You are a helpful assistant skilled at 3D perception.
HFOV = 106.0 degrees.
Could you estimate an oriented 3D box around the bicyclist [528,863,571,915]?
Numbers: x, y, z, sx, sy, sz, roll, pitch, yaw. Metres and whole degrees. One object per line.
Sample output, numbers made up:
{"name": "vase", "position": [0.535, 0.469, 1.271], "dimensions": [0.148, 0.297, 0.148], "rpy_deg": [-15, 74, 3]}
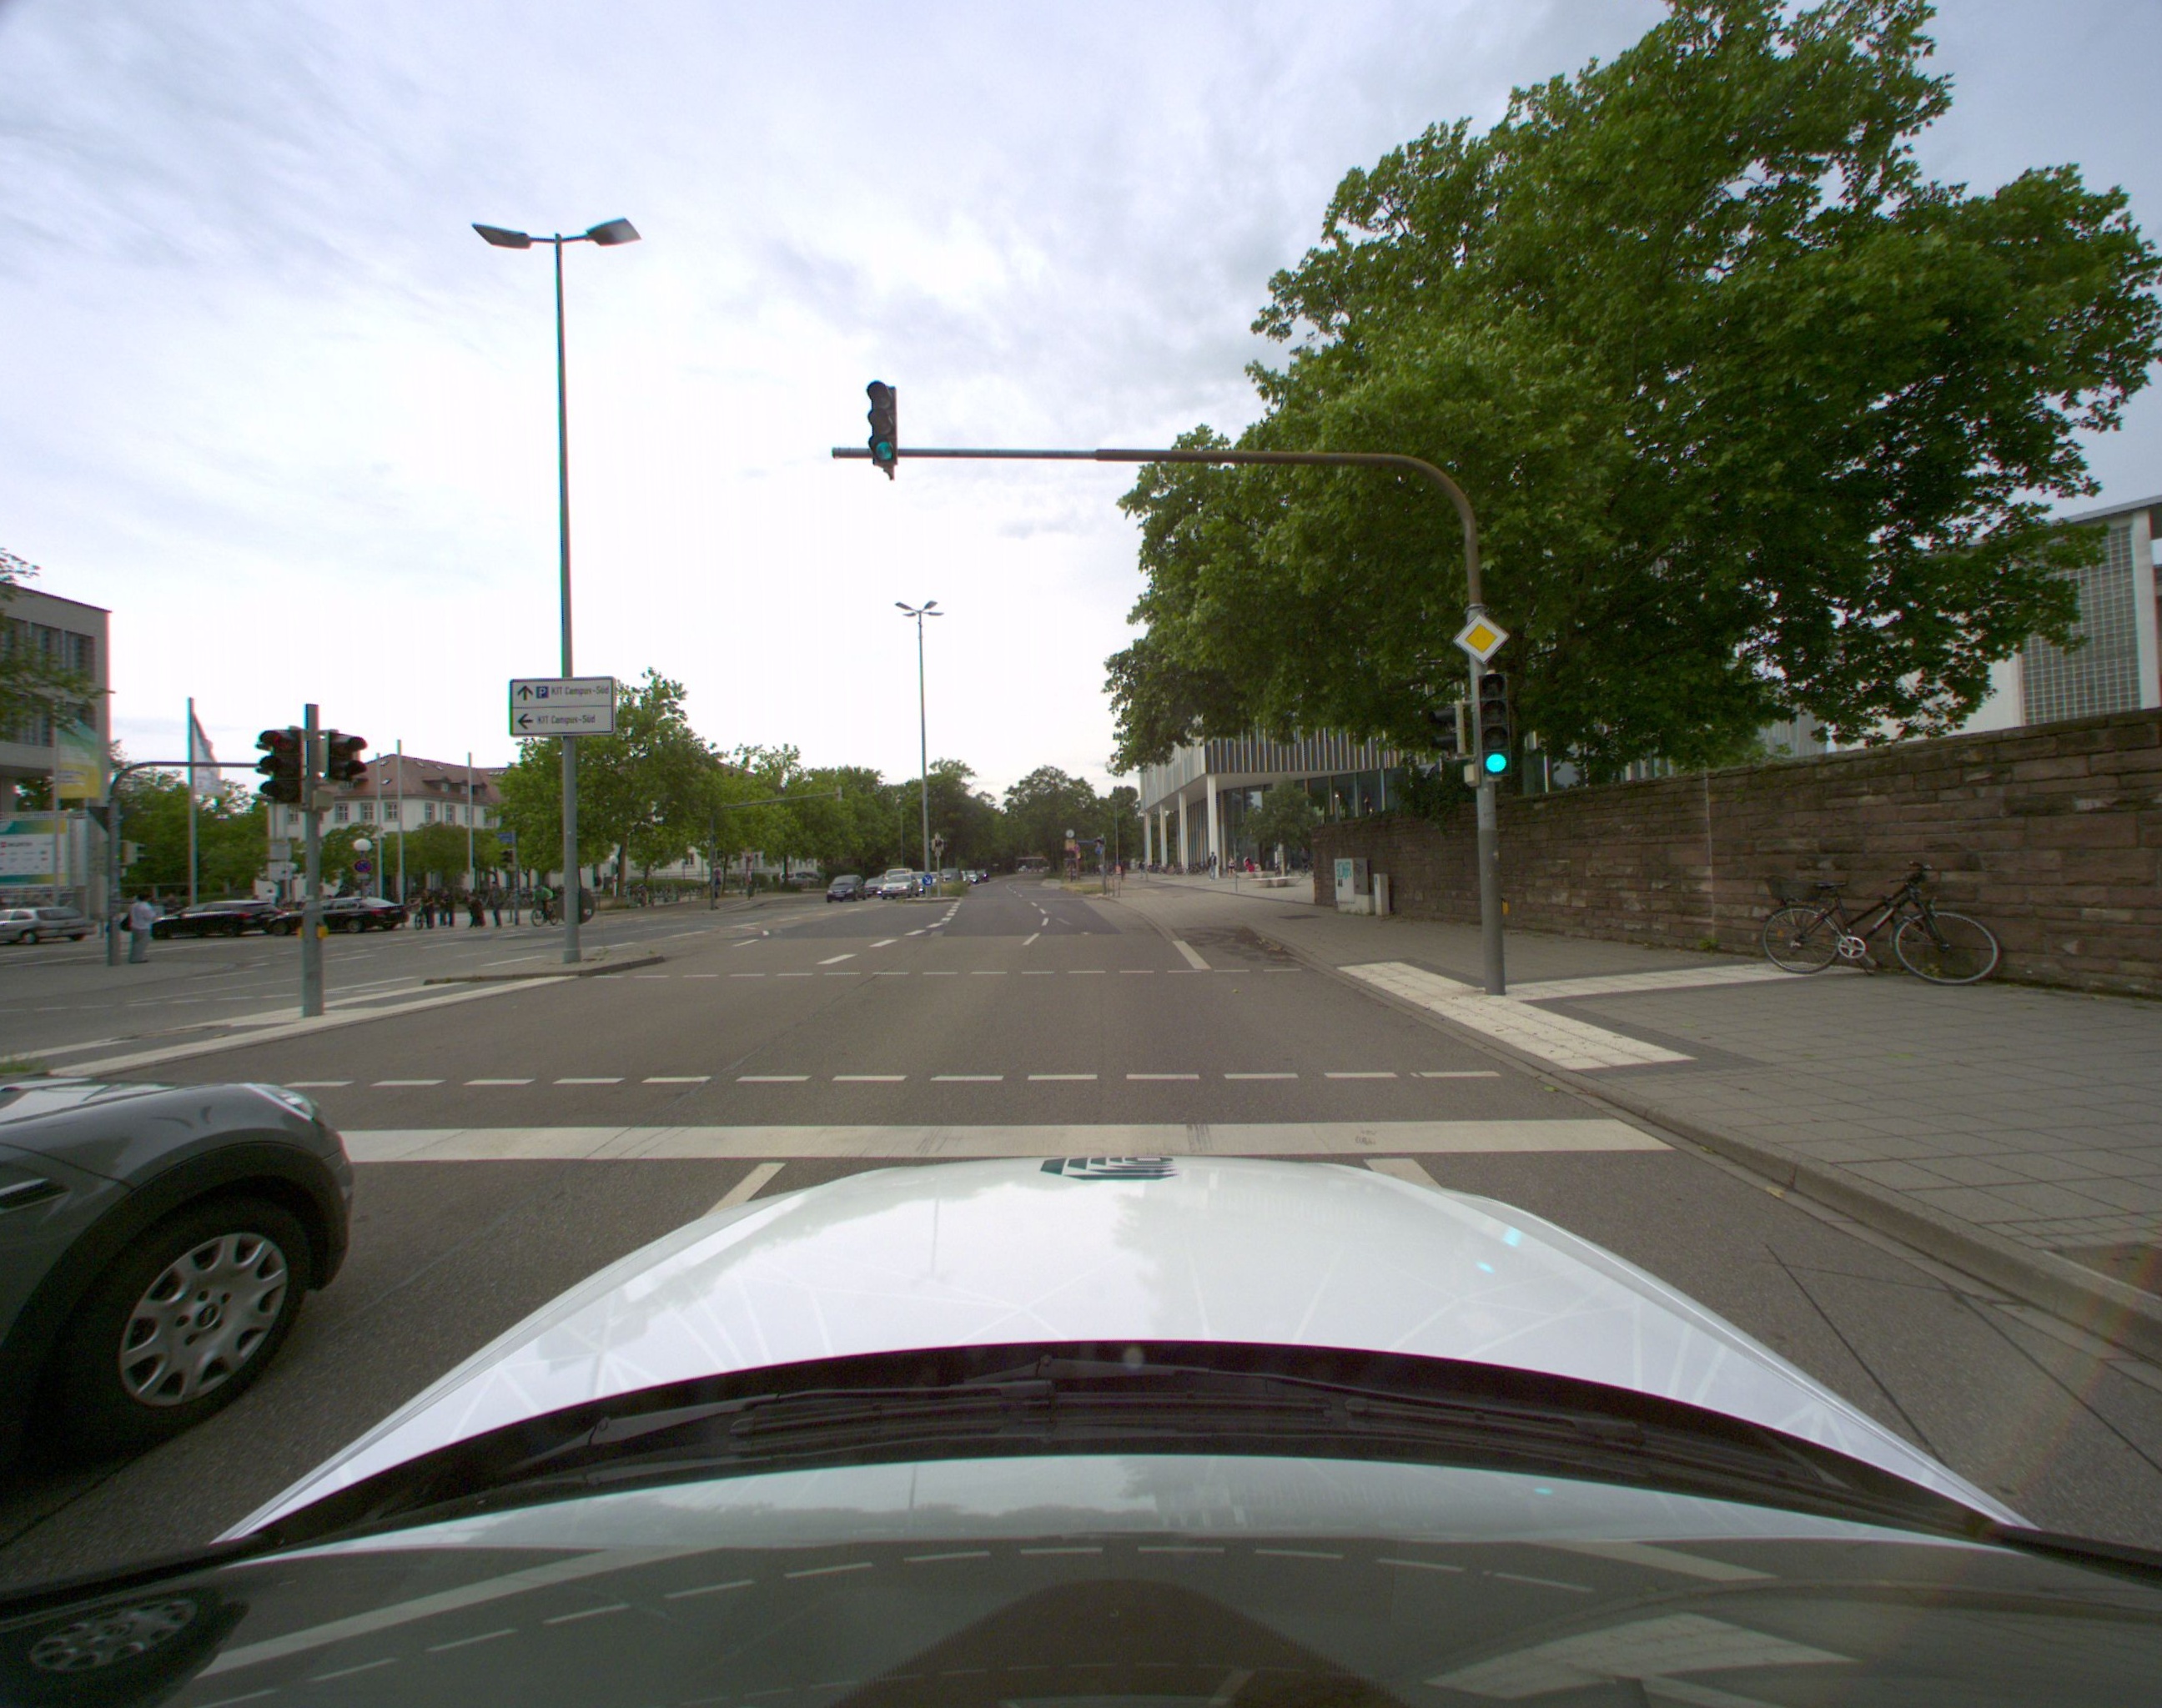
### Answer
{"name": "bicyclist", "position": [-21.163, 1.389, 32.480], "dimensions": [1.185, 2.014, 1.272], "rpy_deg": [0, -1, -22]}

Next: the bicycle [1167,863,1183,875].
{"name": "bicycle", "position": [9.793, 1.526, 84.917], "dimensions": [1.636, 1.091, 0.573], "rpy_deg": [-5, -1, 6]}

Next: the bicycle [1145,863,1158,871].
{"name": "bicycle", "position": [9.131, 1.668, 105.163], "dimensions": [1.604, 0.875, 0.555], "rpy_deg": [-2, -1, -6]}

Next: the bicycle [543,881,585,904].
{"name": "bicycle", "position": [-38.366, 2.839, 60.473], "dimensions": [2.447, 1.559, 0.918], "rpy_deg": [-2, -1, -13]}

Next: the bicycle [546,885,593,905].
{"name": "bicycle", "position": [-37.408, 2.982, 59.537], "dimensions": [2.815, 1.329, 0.720], "rpy_deg": [-2, -1, -7]}

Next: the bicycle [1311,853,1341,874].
{"name": "bicycle", "position": [16.652, 0.655, 55.334], "dimensions": [2.011, 1.306, 0.640], "rpy_deg": [-4, 1, -24]}

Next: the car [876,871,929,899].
{"name": "car", "position": [-10.586, 1.811, 48.605], "dimensions": [1.986, 1.529, 4.275], "rpy_deg": [-2, -1, 2]}

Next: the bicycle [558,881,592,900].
{"name": "bicycle", "position": [-44.255, 3.212, 71.268], "dimensions": [2.639, 1.559, 0.926], "rpy_deg": [-3, -1, 15]}

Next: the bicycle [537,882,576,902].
{"name": "bicycle", "position": [-44.705, 3.248, 69.456], "dimensions": [3.056, 1.559, 0.926], "rpy_deg": [-3, -1, 15]}

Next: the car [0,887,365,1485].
{"name": "car", "position": [-3.291, 0.781, 0.898], "dimensions": [1.615, 1.318, 3.707], "rpy_deg": [-2, -1, 2]}

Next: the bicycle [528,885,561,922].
{"name": "bicycle", "position": [-21.390, 1.953, 32.515], "dimensions": [0.607, 1.333, 2.294], "rpy_deg": [0, -1, -21]}

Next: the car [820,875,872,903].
{"name": "car", "position": [-13.937, 2.041, 48.449], "dimensions": [1.845, 1.463, 3.699], "rpy_deg": [-2, -1, 2]}

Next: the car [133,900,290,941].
{"name": "car", "position": [-35.137, 2.659, 33.018], "dimensions": [3.982, 1.472, 1.996], "rpy_deg": [0, -1, -6]}

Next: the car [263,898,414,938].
{"name": "car", "position": [-30.358, 2.596, 33.426], "dimensions": [4.136, 1.472, 1.996], "rpy_deg": [0, -1, -6]}

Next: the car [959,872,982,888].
{"name": "car", "position": [-11.978, 2.810, 88.292], "dimensions": [1.989, 1.547, 4.176], "rpy_deg": [-4, -1, -2]}

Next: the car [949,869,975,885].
{"name": "car", "position": [-11.521, 2.199, 79.218], "dimensions": [1.899, 1.465, 4.906], "rpy_deg": [0, -1, -2]}

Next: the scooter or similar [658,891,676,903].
{"name": "scooter or similar", "position": [-25.507, 2.634, 50.204], "dimensions": [0.405, 0.694, 1.289], "rpy_deg": [0, -1, 1]}

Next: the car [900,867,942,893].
{"name": "car", "position": [-11.090, 1.772, 56.633], "dimensions": [1.950, 1.584, 4.256], "rpy_deg": [-3, 0, 1]}

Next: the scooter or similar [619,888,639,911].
{"name": "scooter or similar", "position": [-23.824, 2.378, 42.937], "dimensions": [0.359, 1.140, 1.318], "rpy_deg": [-2, -1, -2]}

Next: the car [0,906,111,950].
{"name": "car", "position": [-42.126, 2.938, 32.590], "dimensions": [3.979, 1.580, 1.997], "rpy_deg": [0, -1, -4]}

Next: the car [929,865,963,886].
{"name": "car", "position": [-11.793, 1.872, 71.452], "dimensions": [1.986, 1.687, 4.948], "rpy_deg": [-1, -1, 1]}

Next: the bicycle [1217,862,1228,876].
{"name": "bicycle", "position": [11.134, 1.174, 64.174], "dimensions": [0.636, 1.061, 1.841], "rpy_deg": [0, -1, 3]}

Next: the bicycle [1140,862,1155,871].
{"name": "bicycle", "position": [8.710, 1.624, 106.288], "dimensions": [1.791, 1.082, 0.625], "rpy_deg": [-4, -1, -4]}

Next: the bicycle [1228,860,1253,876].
{"name": "bicycle", "position": [12.160, 1.059, 62.075], "dimensions": [0.727, 1.115, 2.196], "rpy_deg": [-3, -1, 45]}

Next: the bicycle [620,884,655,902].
{"name": "bicycle", "position": [-31.171, 2.728, 57.270], "dimensions": [2.036, 1.153, 0.717], "rpy_deg": [-2, -1, -20]}

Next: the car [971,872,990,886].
{"name": "car", "position": [-12.499, 3.042, 101.285], "dimensions": [1.898, 1.593, 4.512], "rpy_deg": [-3, -1, -2]}

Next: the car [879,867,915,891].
{"name": "car", "position": [-14.459, 1.943, 64.207], "dimensions": [1.766, 1.848, 4.487], "rpy_deg": [0, -1, 0]}

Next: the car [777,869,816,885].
{"name": "car", "position": [-30.291, 2.457, 86.734], "dimensions": [3.579, 1.602, 1.649], "rpy_deg": [0, -1, -5]}

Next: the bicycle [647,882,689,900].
{"name": "bicycle", "position": [-31.654, 2.833, 62.439], "dimensions": [2.743, 1.174, 0.720], "rpy_deg": [-2, -1, -6]}

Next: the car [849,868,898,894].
{"name": "car", "position": [-14.098, 1.791, 55.588], "dimensions": [1.984, 1.620, 4.005], "rpy_deg": [-2, -1, 4]}

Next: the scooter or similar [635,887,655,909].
{"name": "scooter or similar", "position": [-23.849, 2.400, 44.557], "dimensions": [0.359, 1.140, 1.318], "rpy_deg": [-2, -1, -2]}

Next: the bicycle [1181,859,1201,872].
{"name": "bicycle", "position": [11.514, 1.206, 85.084], "dimensions": [1.962, 1.144, 0.652], "rpy_deg": [-5, -1, 39]}

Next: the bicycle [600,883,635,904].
{"name": "bicycle", "position": [-37.994, 3.232, 66.772], "dimensions": [2.396, 1.594, 0.720], "rpy_deg": [-2, -1, -7]}

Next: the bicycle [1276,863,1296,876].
{"name": "bicycle", "position": [14.643, 1.100, 58.134], "dimensions": [0.663, 0.899, 1.857], "rpy_deg": [-3, -1, 39]}
